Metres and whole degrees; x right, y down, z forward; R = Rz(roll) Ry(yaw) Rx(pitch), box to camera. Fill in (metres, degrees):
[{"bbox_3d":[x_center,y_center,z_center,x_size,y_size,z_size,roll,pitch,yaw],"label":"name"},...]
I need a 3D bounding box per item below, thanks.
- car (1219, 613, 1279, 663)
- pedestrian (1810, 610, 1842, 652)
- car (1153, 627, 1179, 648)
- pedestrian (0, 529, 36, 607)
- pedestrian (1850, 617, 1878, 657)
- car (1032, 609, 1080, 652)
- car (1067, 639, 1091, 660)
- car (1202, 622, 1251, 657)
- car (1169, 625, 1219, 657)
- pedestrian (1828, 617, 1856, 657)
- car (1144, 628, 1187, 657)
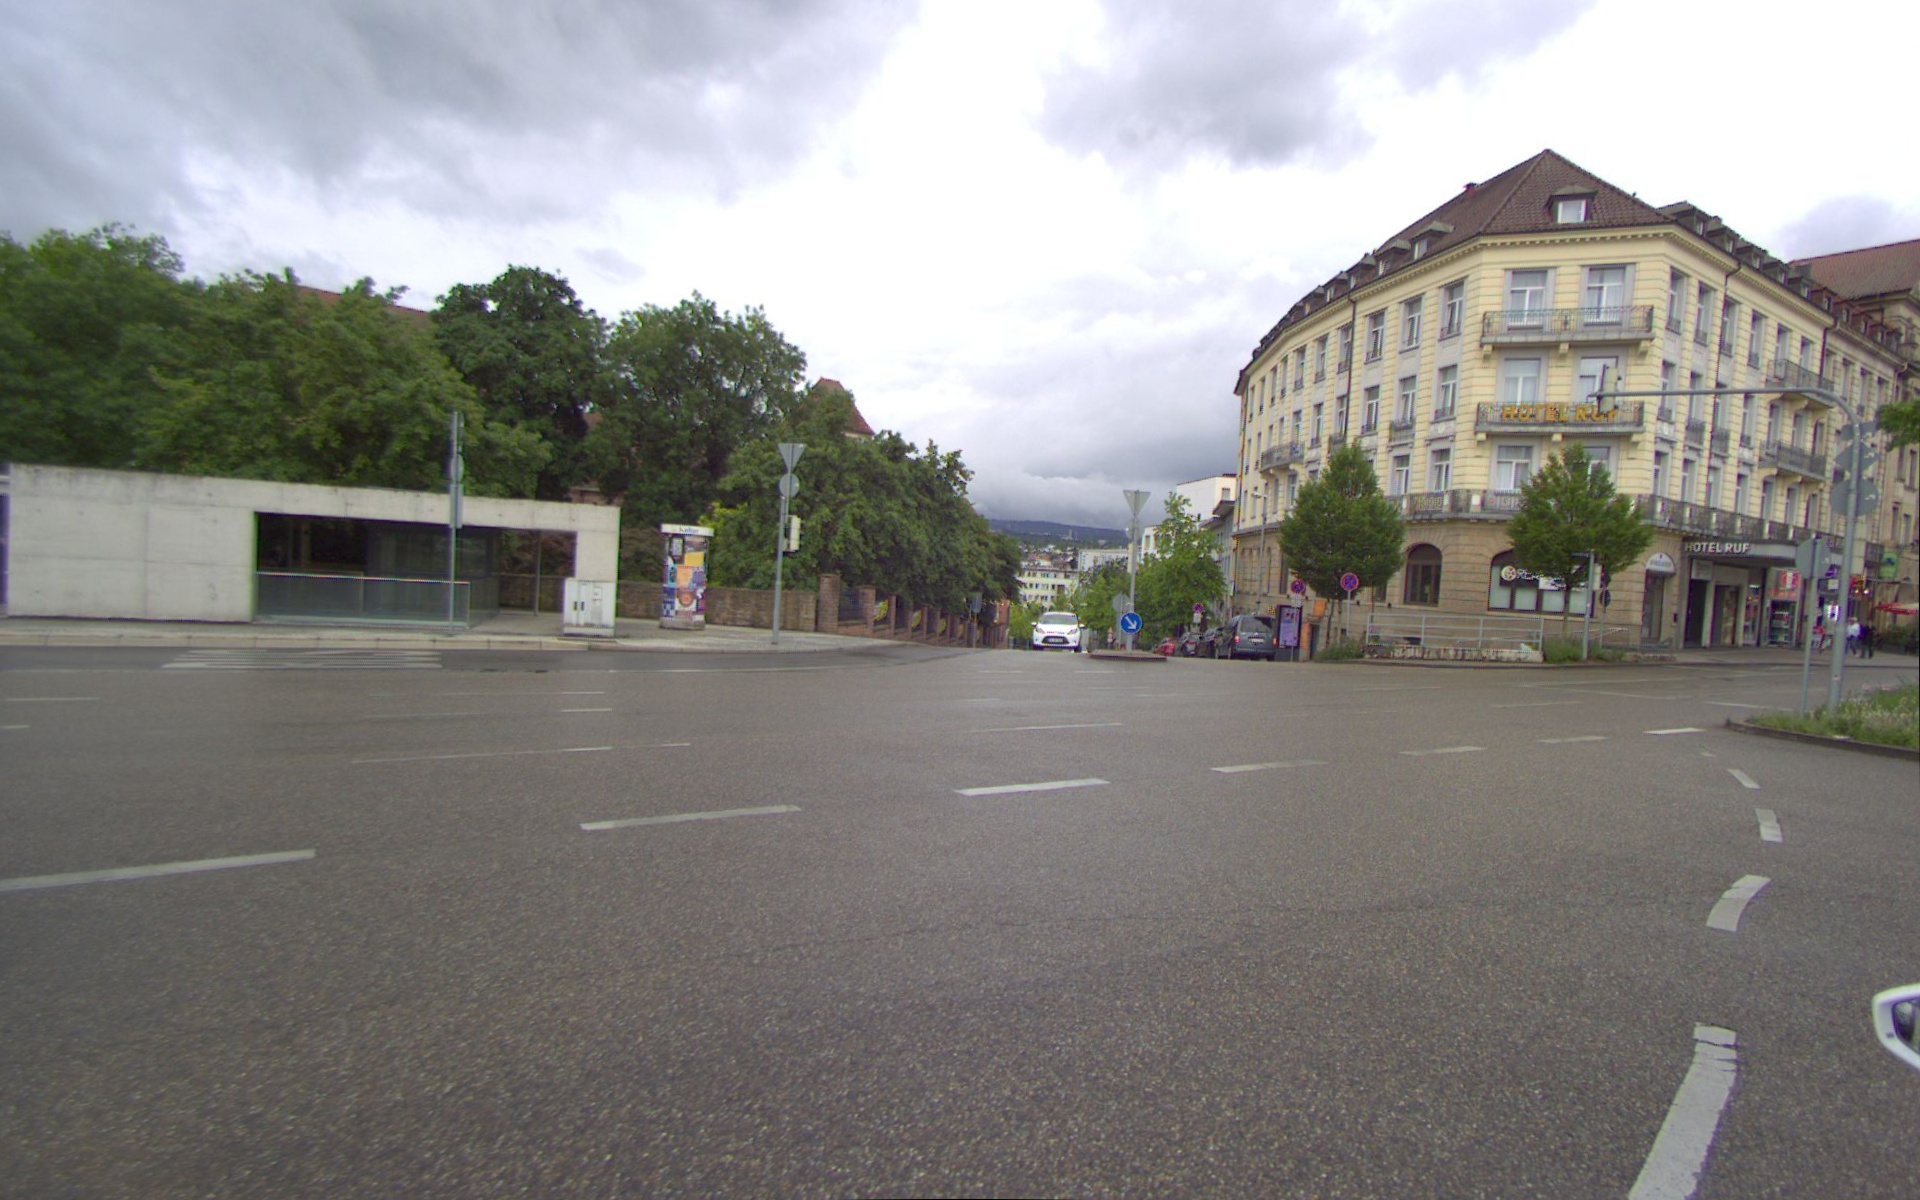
[{"bbox_3d":[11.553,1.466,40.359,1.602,1.782,4.002,2,0,7],"label":"car"},{"bbox_3d":[38.645,1.366,44.808,0.743,1.837,0.874,2,0,-34],"label":"pedestrian"},{"bbox_3d":[16.092,2.925,78.556,1.734,1.498,4.003,2,-1,8],"label":"car"},{"bbox_3d":[-22.322,-0.748,23.403,0.811,1.779,0.784,2,0,-14],"label":"pedestrian"},{"bbox_3d":[38.821,1.582,43.123,0.798,1.686,0.677,2,0,-33],"label":"pedestrian"},{"bbox_3d":[3.493,1.061,36.472,1.602,1.416,4.002,2,-1,6],"label":"car"},{"bbox_3d":[10.516,4.384,89.287,1.960,1.706,4.002,2,-1,5],"label":"car"},{"bbox_3d":[12.357,1.814,46.777,1.602,1.417,4.002,2,0,7],"label":"car"},{"bbox_3d":[12.089,2.111,52.142,1.735,1.498,4.001,2,-1,2],"label":"car"},{"bbox_3d":[38.389,1.615,43.707,0.798,1.686,0.678,2,0,-31],"label":"pedestrian"},{"bbox_3d":[11.902,2.426,58.348,1.735,1.498,4.011,2,-1,2],"label":"car"}]
